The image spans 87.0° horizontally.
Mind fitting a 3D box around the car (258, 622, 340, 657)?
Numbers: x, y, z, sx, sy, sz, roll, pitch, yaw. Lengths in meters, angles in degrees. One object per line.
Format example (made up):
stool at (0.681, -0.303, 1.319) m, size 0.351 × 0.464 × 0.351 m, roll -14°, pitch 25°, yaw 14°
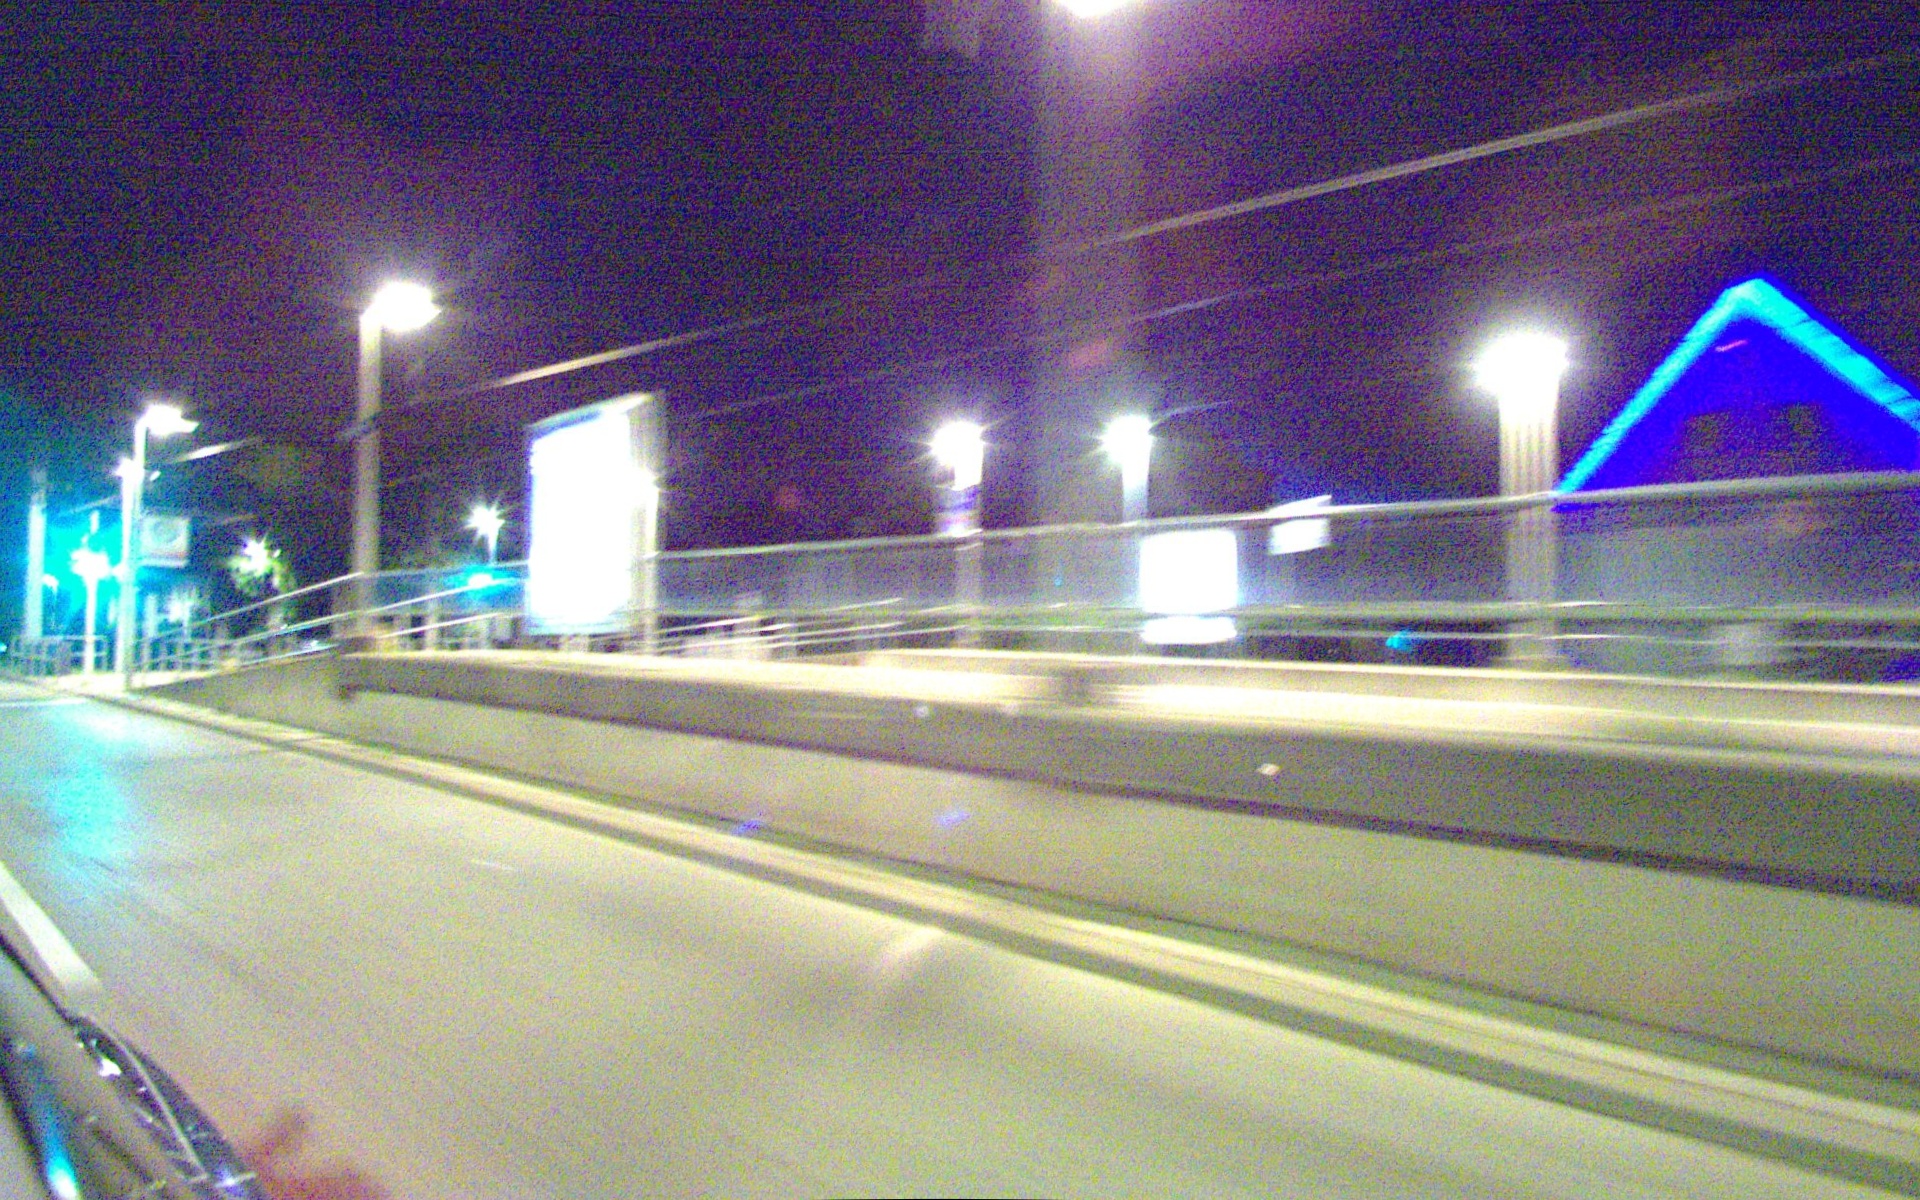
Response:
car at (-30.460, 1.821, 46.589) m, size 4.088 × 1.516 × 1.848 m, roll -1°, pitch -3°, yaw 37°
